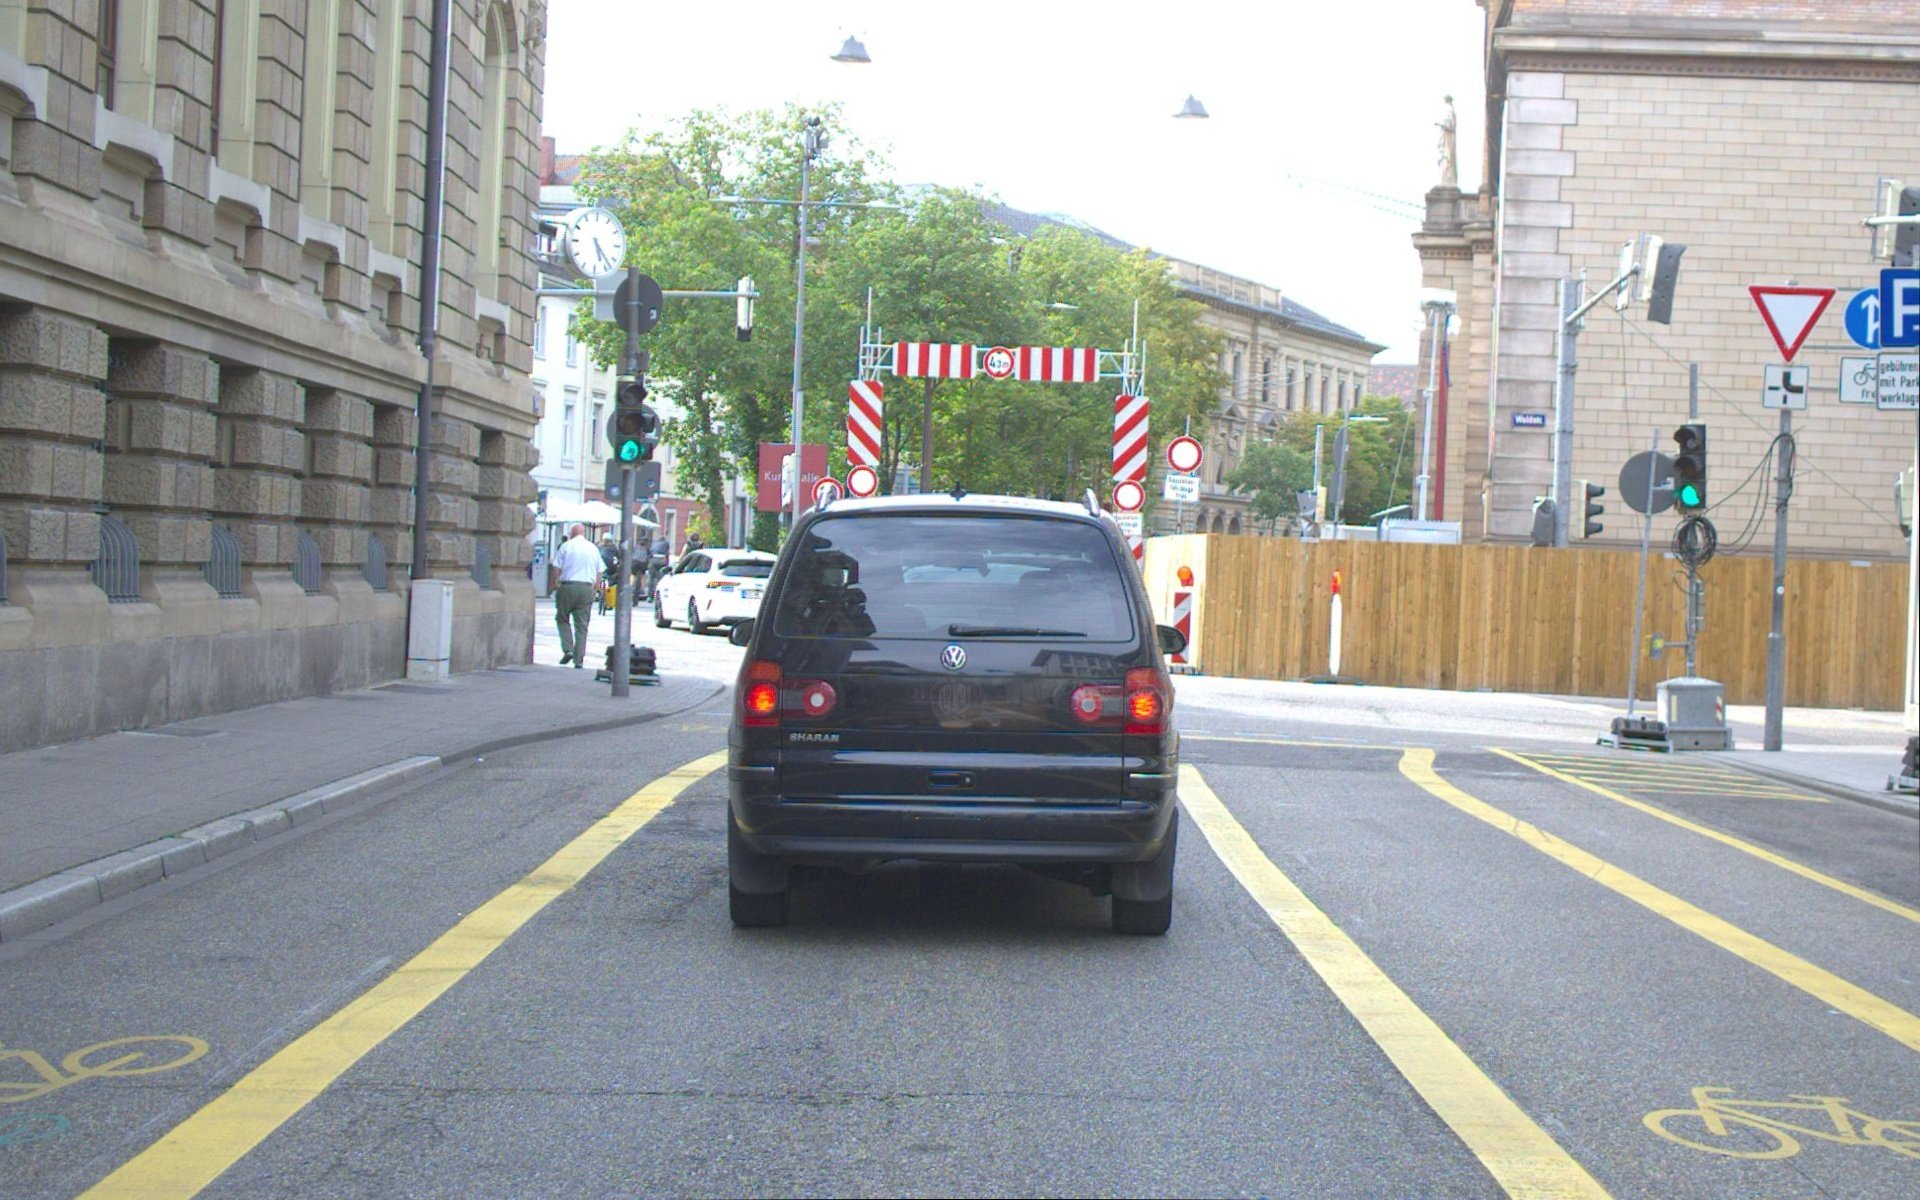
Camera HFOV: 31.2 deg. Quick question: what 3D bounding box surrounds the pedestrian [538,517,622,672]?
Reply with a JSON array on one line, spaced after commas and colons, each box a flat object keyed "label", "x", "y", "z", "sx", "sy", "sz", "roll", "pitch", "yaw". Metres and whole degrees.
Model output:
[{"label": "pedestrian", "x": -4.621, "y": -0.072, "z": 41.868, "sx": 0.792, "sy": 1.813, "sz": 1.048, "roll": 4, "pitch": 0, "yaw": 0}]

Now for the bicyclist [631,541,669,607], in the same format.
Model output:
[{"label": "bicyclist", "x": -7.053, "y": -0.590, "z": 78.276, "sx": 0.735, "sy": 1.465, "sz": 0.809, "roll": 2, "pitch": 0, "yaw": -11}]

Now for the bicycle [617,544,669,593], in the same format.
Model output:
[{"label": "bicycle", "x": -7.540, "y": -0.750, "z": 81.714, "sx": 0.965, "sy": 1.108, "sz": 2.791, "roll": 2, "pitch": 0, "yaw": -10}]

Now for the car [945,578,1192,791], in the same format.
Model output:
[{"label": "car", "x": 0.773, "y": 0.595, "z": 26.757, "sx": 1.678, "sy": 1.464, "sz": 4.103, "roll": 2, "pitch": 0, "yaw": -1}]

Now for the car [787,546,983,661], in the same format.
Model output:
[{"label": "car", "x": -1.095, "y": 0.031, "z": 48.125, "sx": 1.703, "sy": 1.496, "sz": 4.001, "roll": 2, "pitch": 0, "yaw": -17}]

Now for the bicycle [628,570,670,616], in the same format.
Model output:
[{"label": "bicycle", "x": -7.093, "y": -0.172, "z": 78.411, "sx": 0.735, "sy": 1.005, "sz": 2.069, "roll": 2, "pitch": 0, "yaw": -11}]

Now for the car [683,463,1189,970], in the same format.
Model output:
[{"label": "car", "x": 0.014, "y": 0.420, "z": 14.679, "sx": 1.790, "sy": 1.784, "sz": 4.103, "roll": 2, "pitch": 0, "yaw": 3}]

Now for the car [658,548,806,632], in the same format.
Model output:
[{"label": "car", "x": -3.848, "y": -0.183, "z": 57.538, "sx": 1.649, "sy": 1.317, "sz": 3.676, "roll": 2, "pitch": 0, "yaw": -17}]

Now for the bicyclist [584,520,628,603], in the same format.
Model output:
[{"label": "bicyclist", "x": -6.961, "y": -0.753, "z": 67.627, "sx": 0.735, "sy": 1.606, "sz": 0.695, "roll": 2, "pitch": 0, "yaw": -14}]

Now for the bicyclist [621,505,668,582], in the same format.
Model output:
[{"label": "bicyclist", "x": -7.500, "y": -1.344, "z": 81.646, "sx": 0.965, "sy": 1.776, "sz": 0.986, "roll": 2, "pitch": 0, "yaw": -10}]

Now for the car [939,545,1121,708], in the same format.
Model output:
[{"label": "car", "x": 0.701, "y": 0.264, "z": 36.550, "sx": 1.773, "sy": 1.580, "sz": 4.000, "roll": 2, "pitch": 0, "yaw": 0}]

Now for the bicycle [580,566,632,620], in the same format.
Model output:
[{"label": "bicycle", "x": -6.976, "y": -0.145, "z": 67.615, "sx": 0.735, "sy": 1.005, "sz": 2.069, "roll": 2, "pitch": 0, "yaw": -13}]
